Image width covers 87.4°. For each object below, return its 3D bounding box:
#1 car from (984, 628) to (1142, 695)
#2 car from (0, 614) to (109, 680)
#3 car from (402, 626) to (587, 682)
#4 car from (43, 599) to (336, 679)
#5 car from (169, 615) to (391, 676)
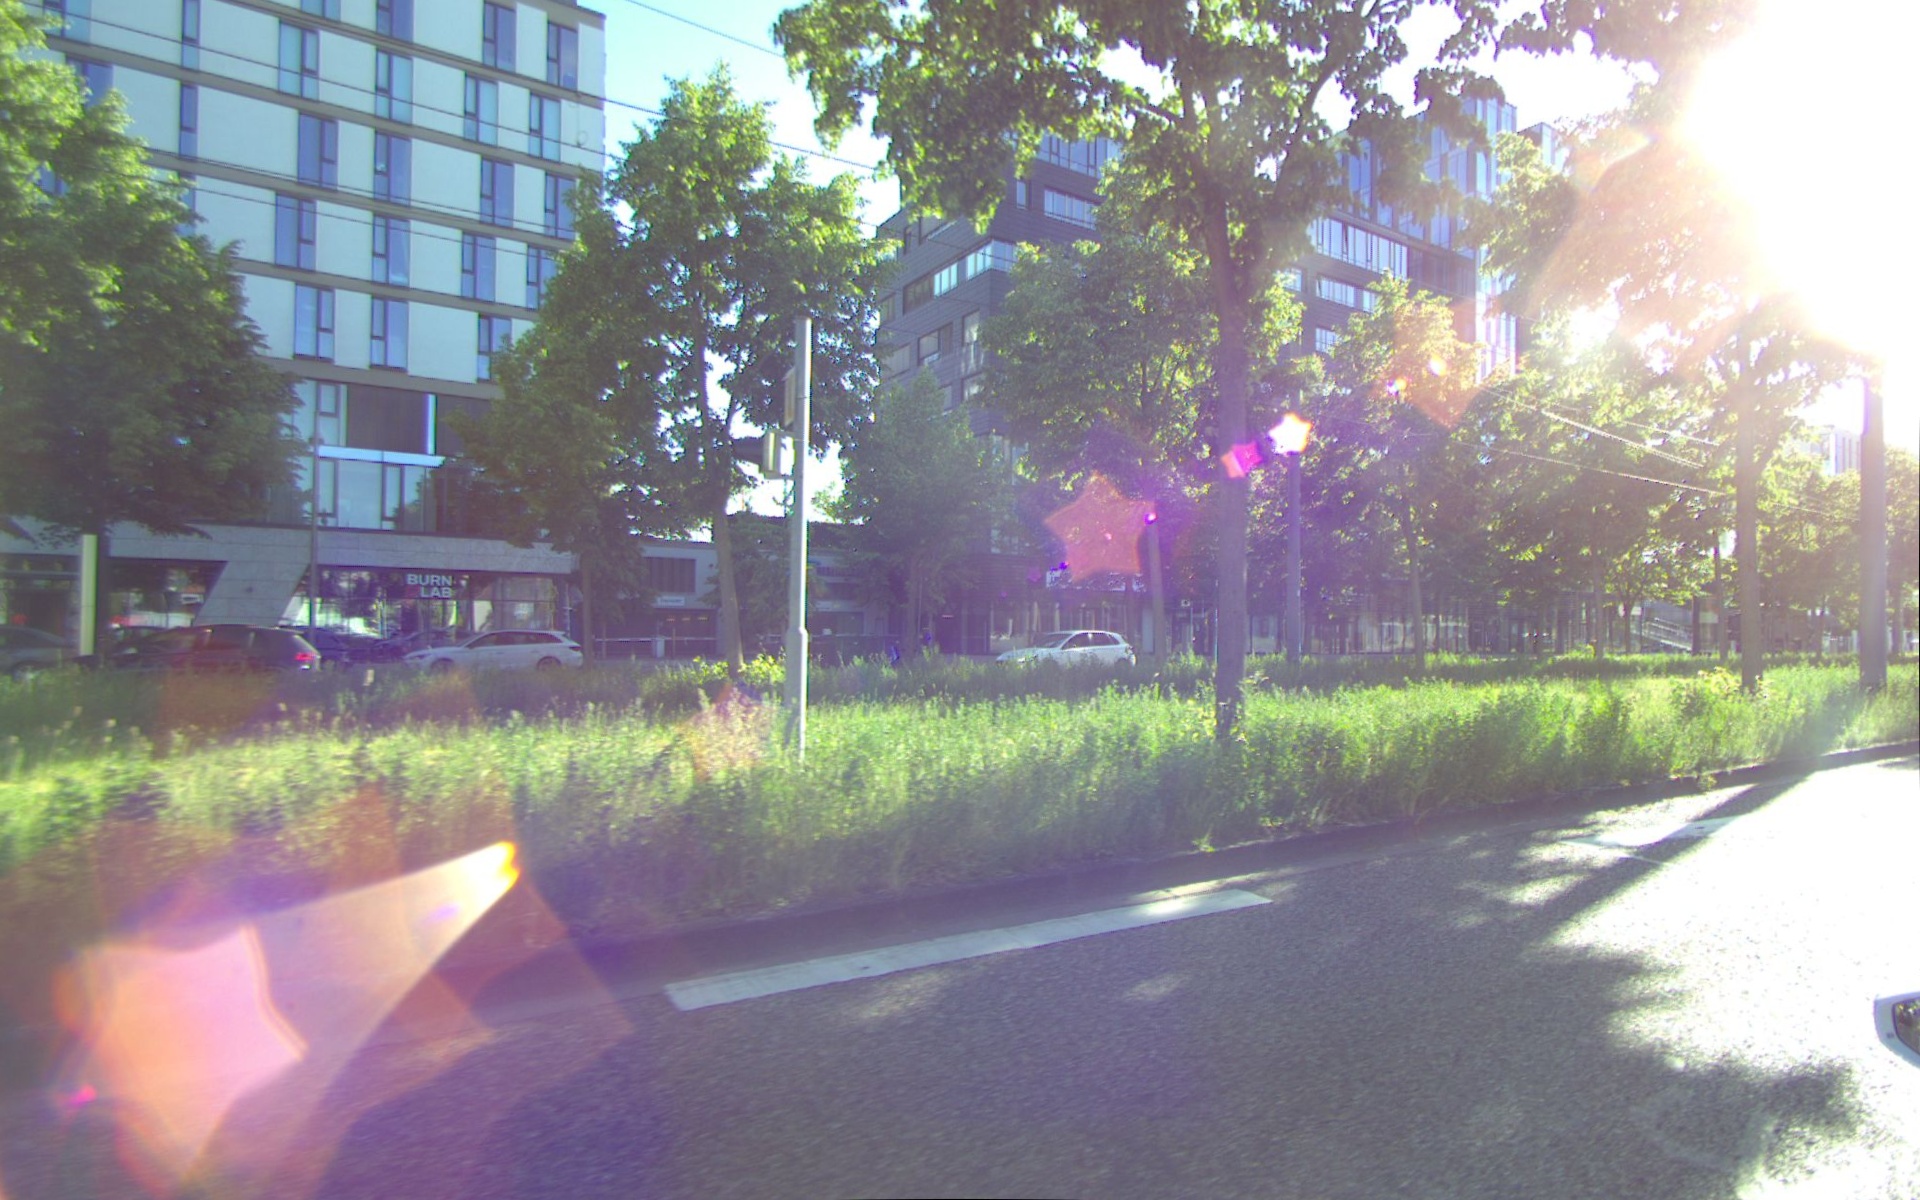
[{"bbox_3d":[2.933,1.672,28.350,4.274,1.711,1.787,1,0,-33],"label":"car"},{"bbox_3d":[-22.051,1.023,22.359,4.495,1.439,1.706,1,-1,-32],"label":"car"},{"bbox_3d":[-12.942,1.476,28.021,4.495,1.439,1.706,1,-2,-32],"label":"car"},{"bbox_3d":[-13.453,0.683,17.895,3.957,1.280,1.787,1,-1,-33],"label":"car"},{"bbox_3d":[-16.995,1.126,25.390,4.493,1.439,1.707,1,-1,-31],"label":"car"}]
